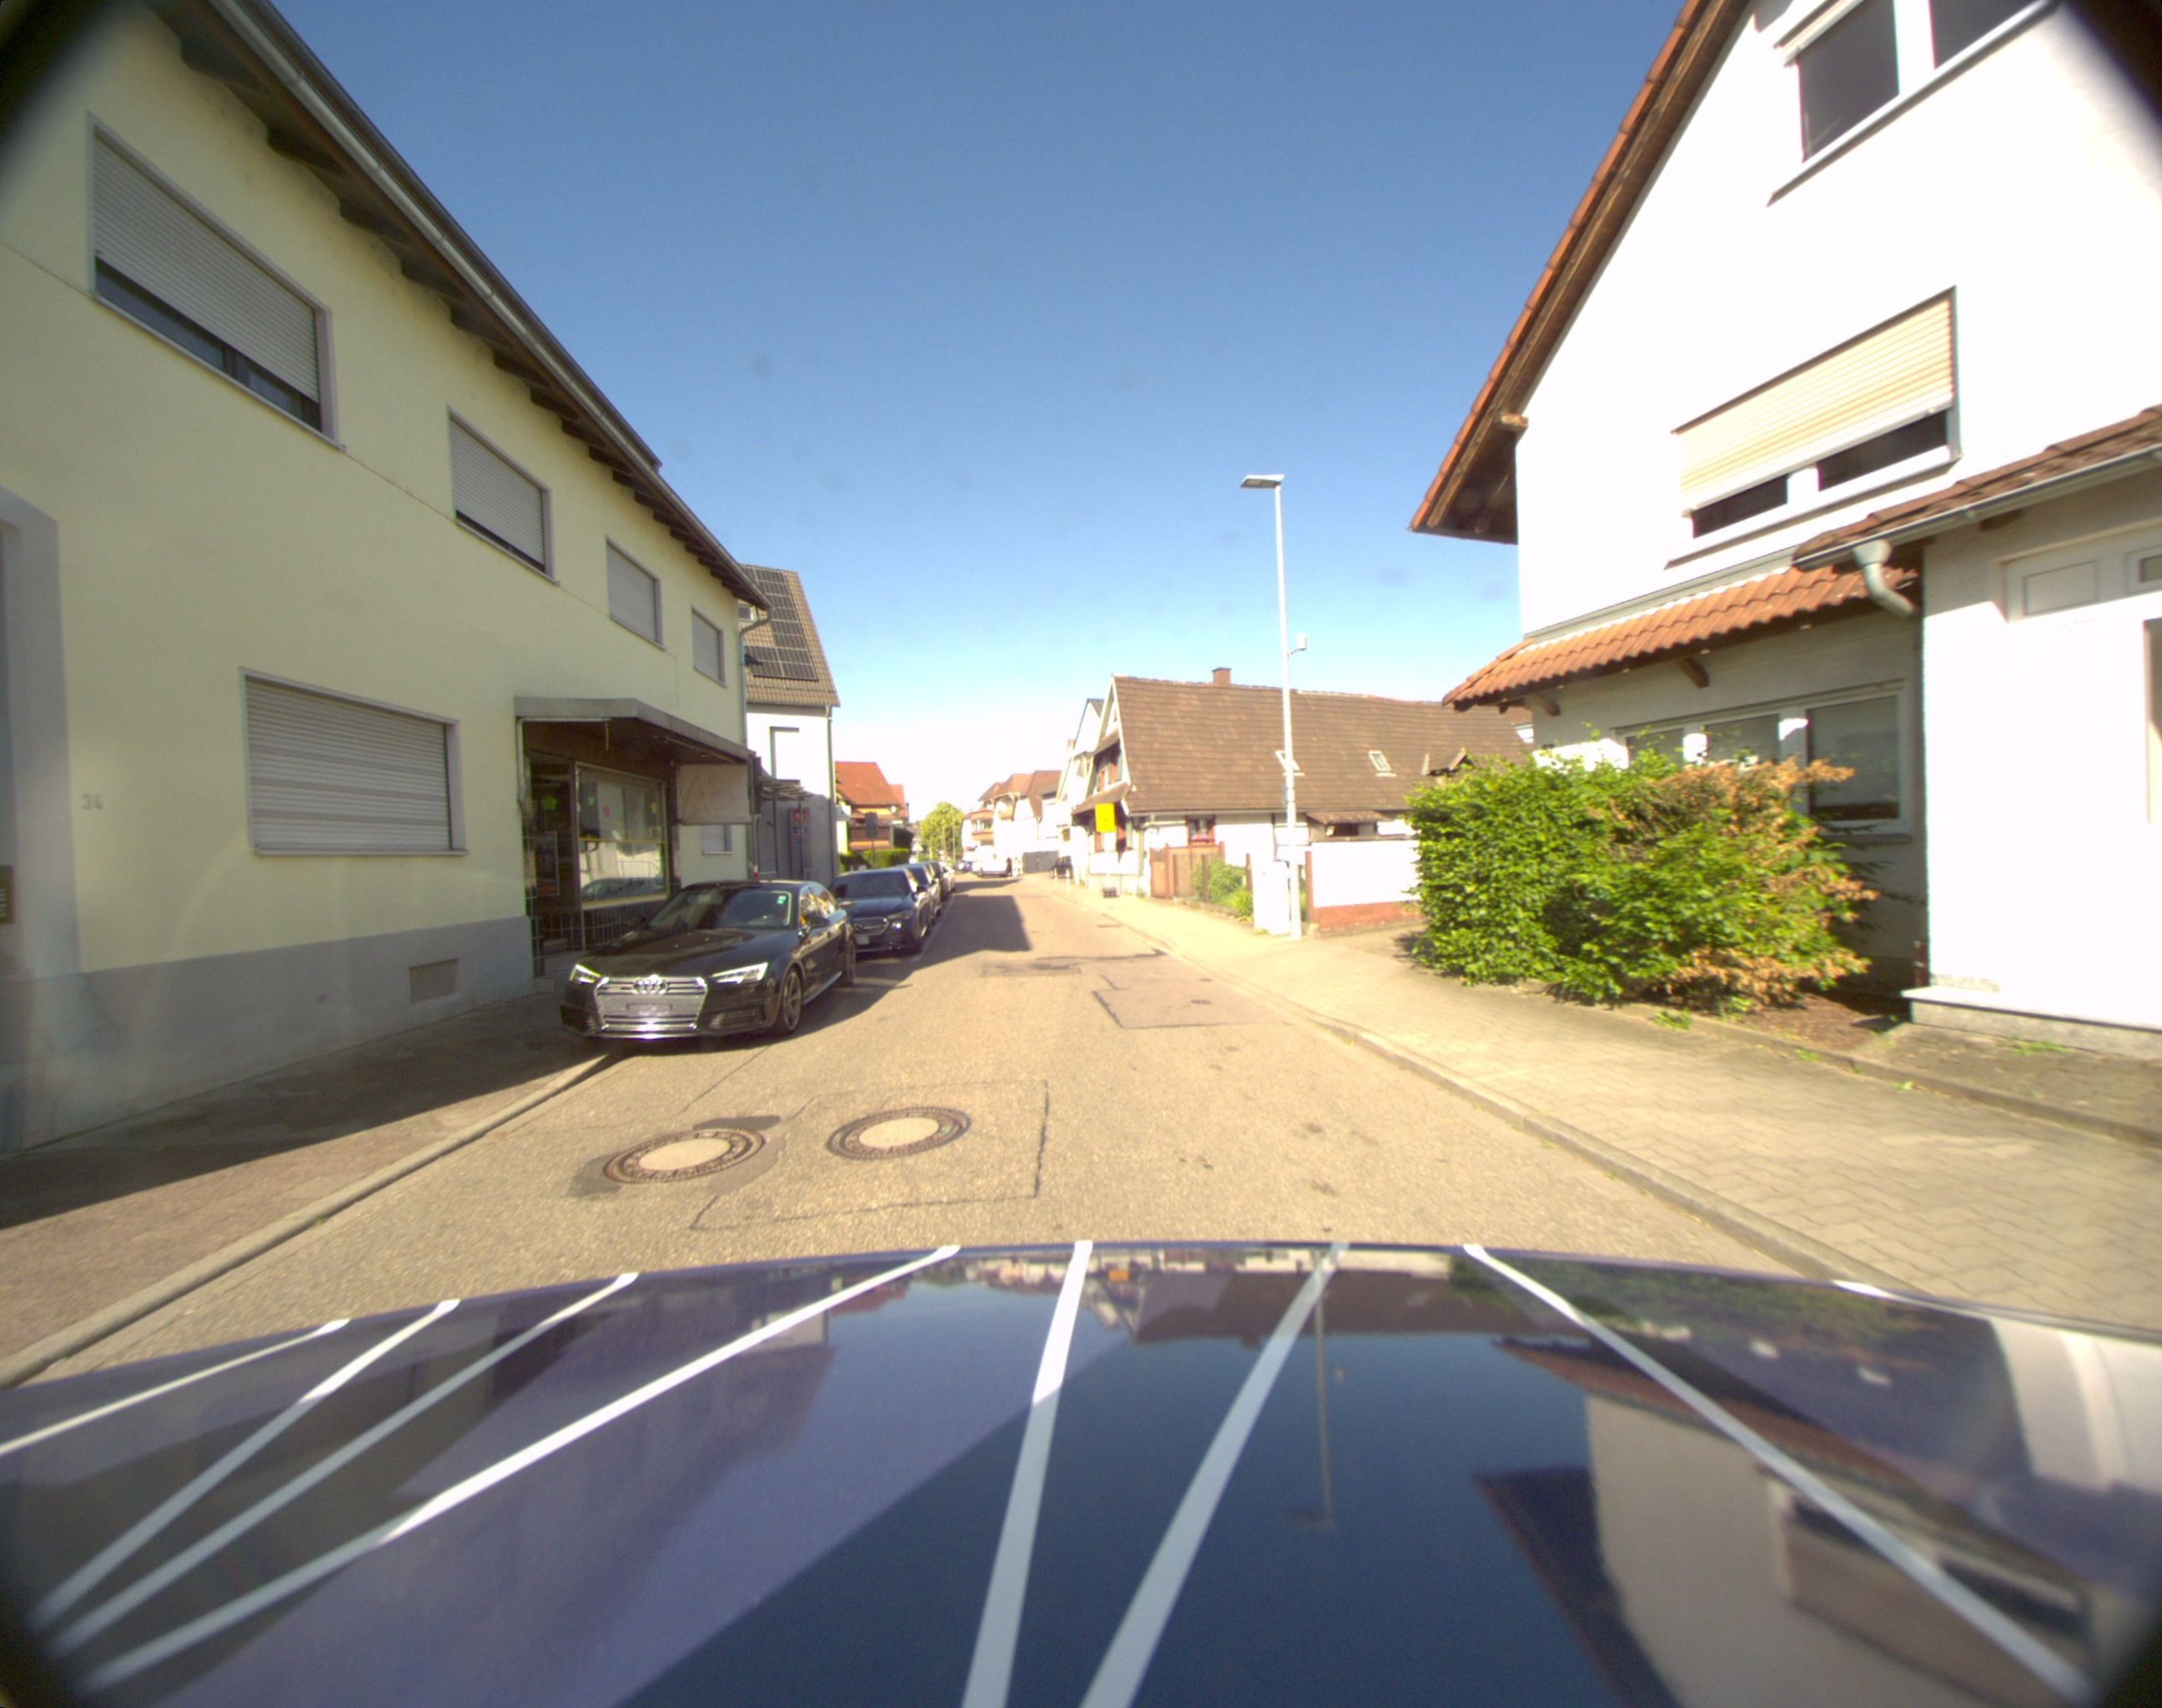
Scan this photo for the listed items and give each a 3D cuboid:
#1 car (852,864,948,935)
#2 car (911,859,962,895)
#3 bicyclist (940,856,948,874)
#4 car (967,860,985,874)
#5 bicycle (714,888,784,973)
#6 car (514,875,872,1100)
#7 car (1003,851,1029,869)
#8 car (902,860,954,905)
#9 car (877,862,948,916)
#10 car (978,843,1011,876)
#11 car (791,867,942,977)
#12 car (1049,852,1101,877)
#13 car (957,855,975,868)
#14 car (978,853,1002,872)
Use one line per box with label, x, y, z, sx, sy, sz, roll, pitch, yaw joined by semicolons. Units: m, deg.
car;-4.588;1.078;19.924;1.814;1.467;4.441;-4;1;-6
car;-6.715;1.031;35.756;1.851;1.505;4.504;-3;0;-5
bicyclist;-12.987;1.040;71.972;0.644;1.655;0.604;-2;1;-9
car;-12.158;1.492;87.751;1.624;1.431;3.951;-2;0;-14
bicycle;-5.140;1.151;11.837;0.509;1.151;1.506;-1;1;-5
car;-3.693;1.107;8.387;1.814;1.467;4.841;-4;1;-6
car;-6.467;0.589;75.080;1.648;1.578;4.106;-3;1;-17
car;-5.949;1.050;29.888;1.615;1.512;3.968;-4;1;-7
car;-5.407;1.081;24.829;1.730;1.467;3.872;-4;1;-6
car;-7.051;0.443;61.255;2.260;2.456;5.511;-2;0;-10
car;-3.747;1.083;14.151;1.814;1.467;4.841;-4;1;-6
car;-0.438;0.689;48.687;1.695;1.437;4.168;-4;1;-24
car;-14.527;0.944;96.010;1.765;1.547;3.994;-2;0;-16
car;-8.481;0.763;70.667;1.729;1.609;4.107;-2;0;-14
